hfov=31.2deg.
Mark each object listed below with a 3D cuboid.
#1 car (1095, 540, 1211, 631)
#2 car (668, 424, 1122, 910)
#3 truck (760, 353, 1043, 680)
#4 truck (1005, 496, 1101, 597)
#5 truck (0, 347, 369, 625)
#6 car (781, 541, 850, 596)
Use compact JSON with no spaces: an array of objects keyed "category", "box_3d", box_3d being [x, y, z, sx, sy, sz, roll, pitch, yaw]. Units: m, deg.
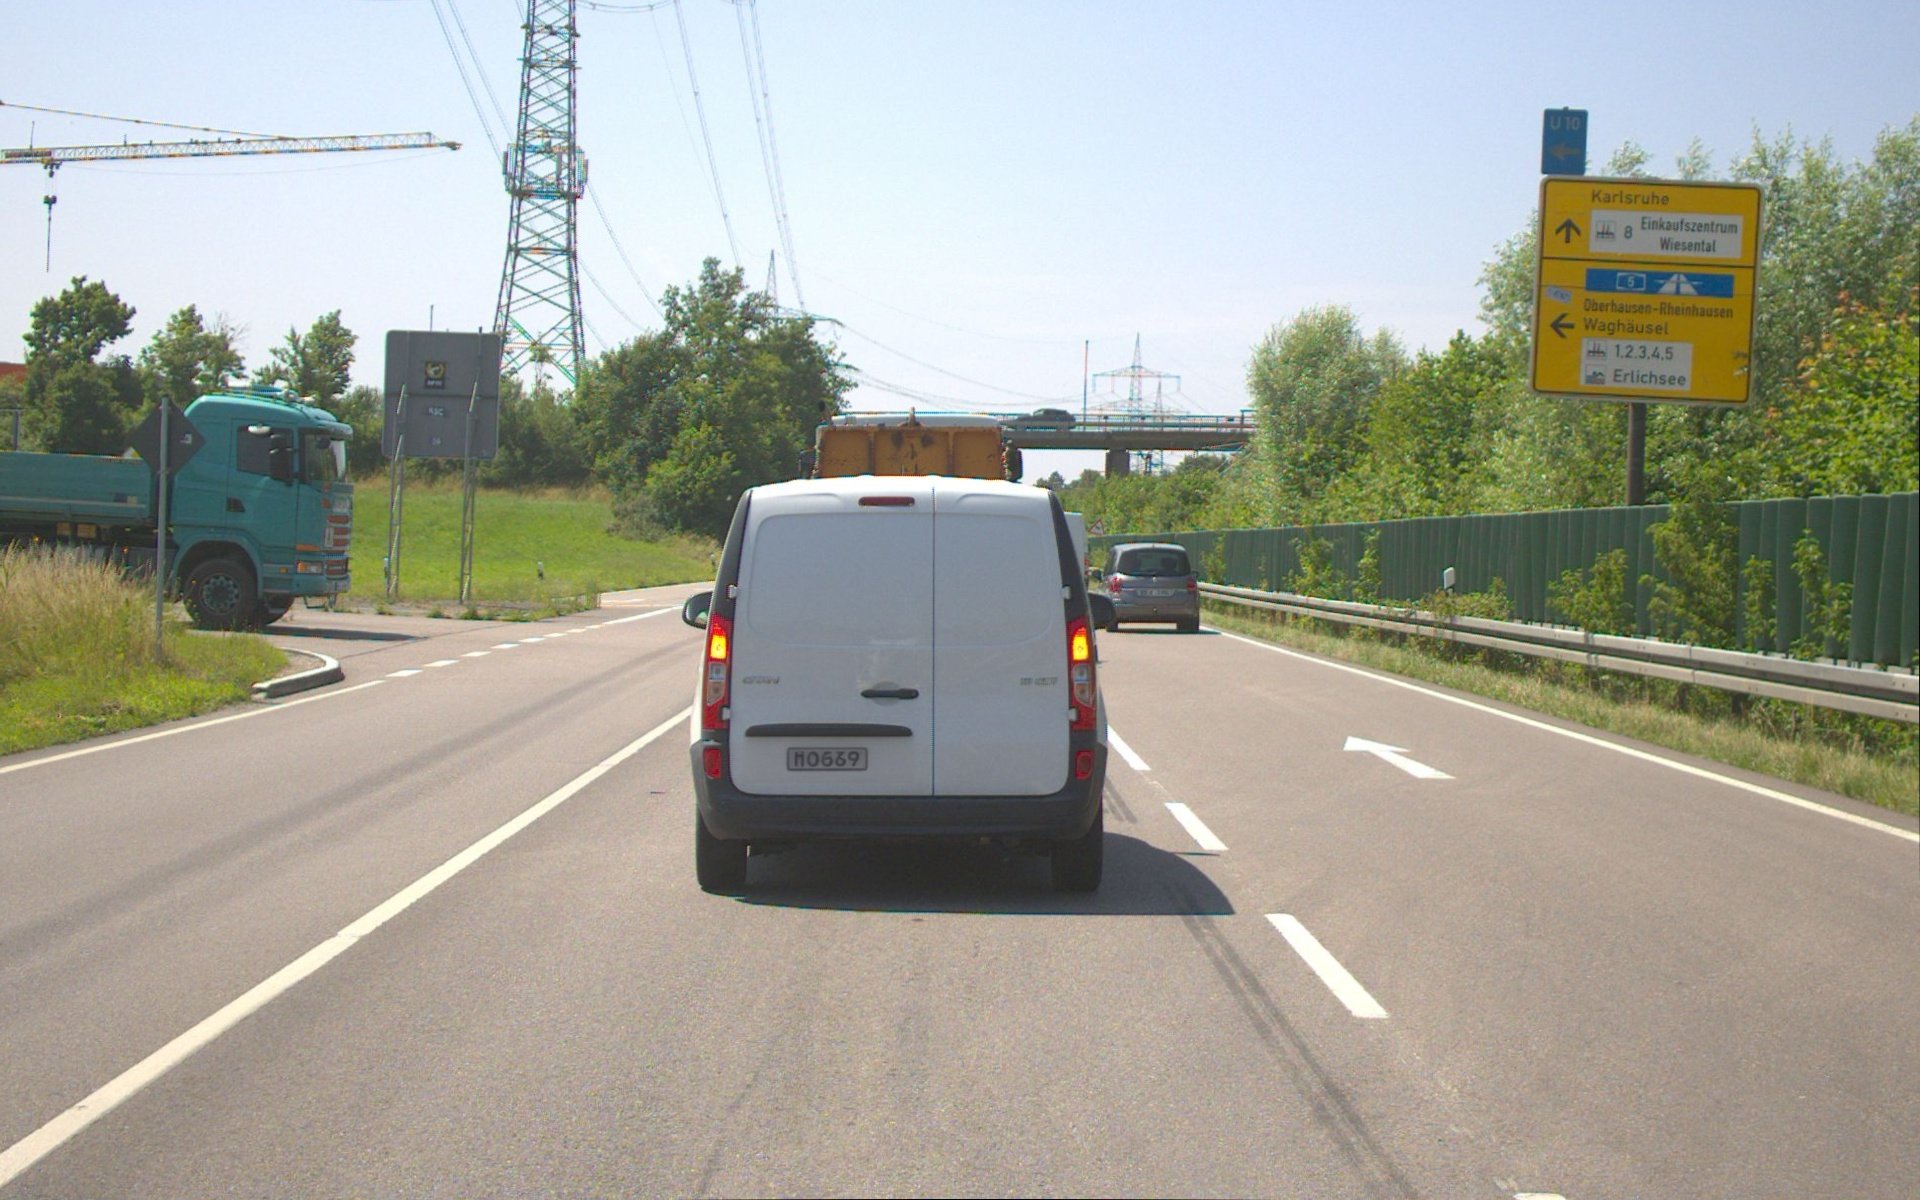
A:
[{"category":"car","box_3d":[3.433,-0.289,61.799,1.848,1.568,4.000,1,1,0]},{"category":"car","box_3d":[-0.280,0.239,16.003,1.827,1.964,4.000,1,1,0]},{"category":"truck","box_3d":[-0.660,-0.991,39.952,2.820,3.277,9.702,1,2,-1]},{"category":"truck","box_3d":[2.597,-1.535,98.332,2.374,2.680,8.010,2,1,0]},{"category":"truck","box_3d":[-13.014,-1.753,50.765,7.905,3.721,2.498,3,1,3]},{"category":"car","box_3d":[-4.105,-0.926,98.194,1.725,1.436,4.249,3,1,0]}]
